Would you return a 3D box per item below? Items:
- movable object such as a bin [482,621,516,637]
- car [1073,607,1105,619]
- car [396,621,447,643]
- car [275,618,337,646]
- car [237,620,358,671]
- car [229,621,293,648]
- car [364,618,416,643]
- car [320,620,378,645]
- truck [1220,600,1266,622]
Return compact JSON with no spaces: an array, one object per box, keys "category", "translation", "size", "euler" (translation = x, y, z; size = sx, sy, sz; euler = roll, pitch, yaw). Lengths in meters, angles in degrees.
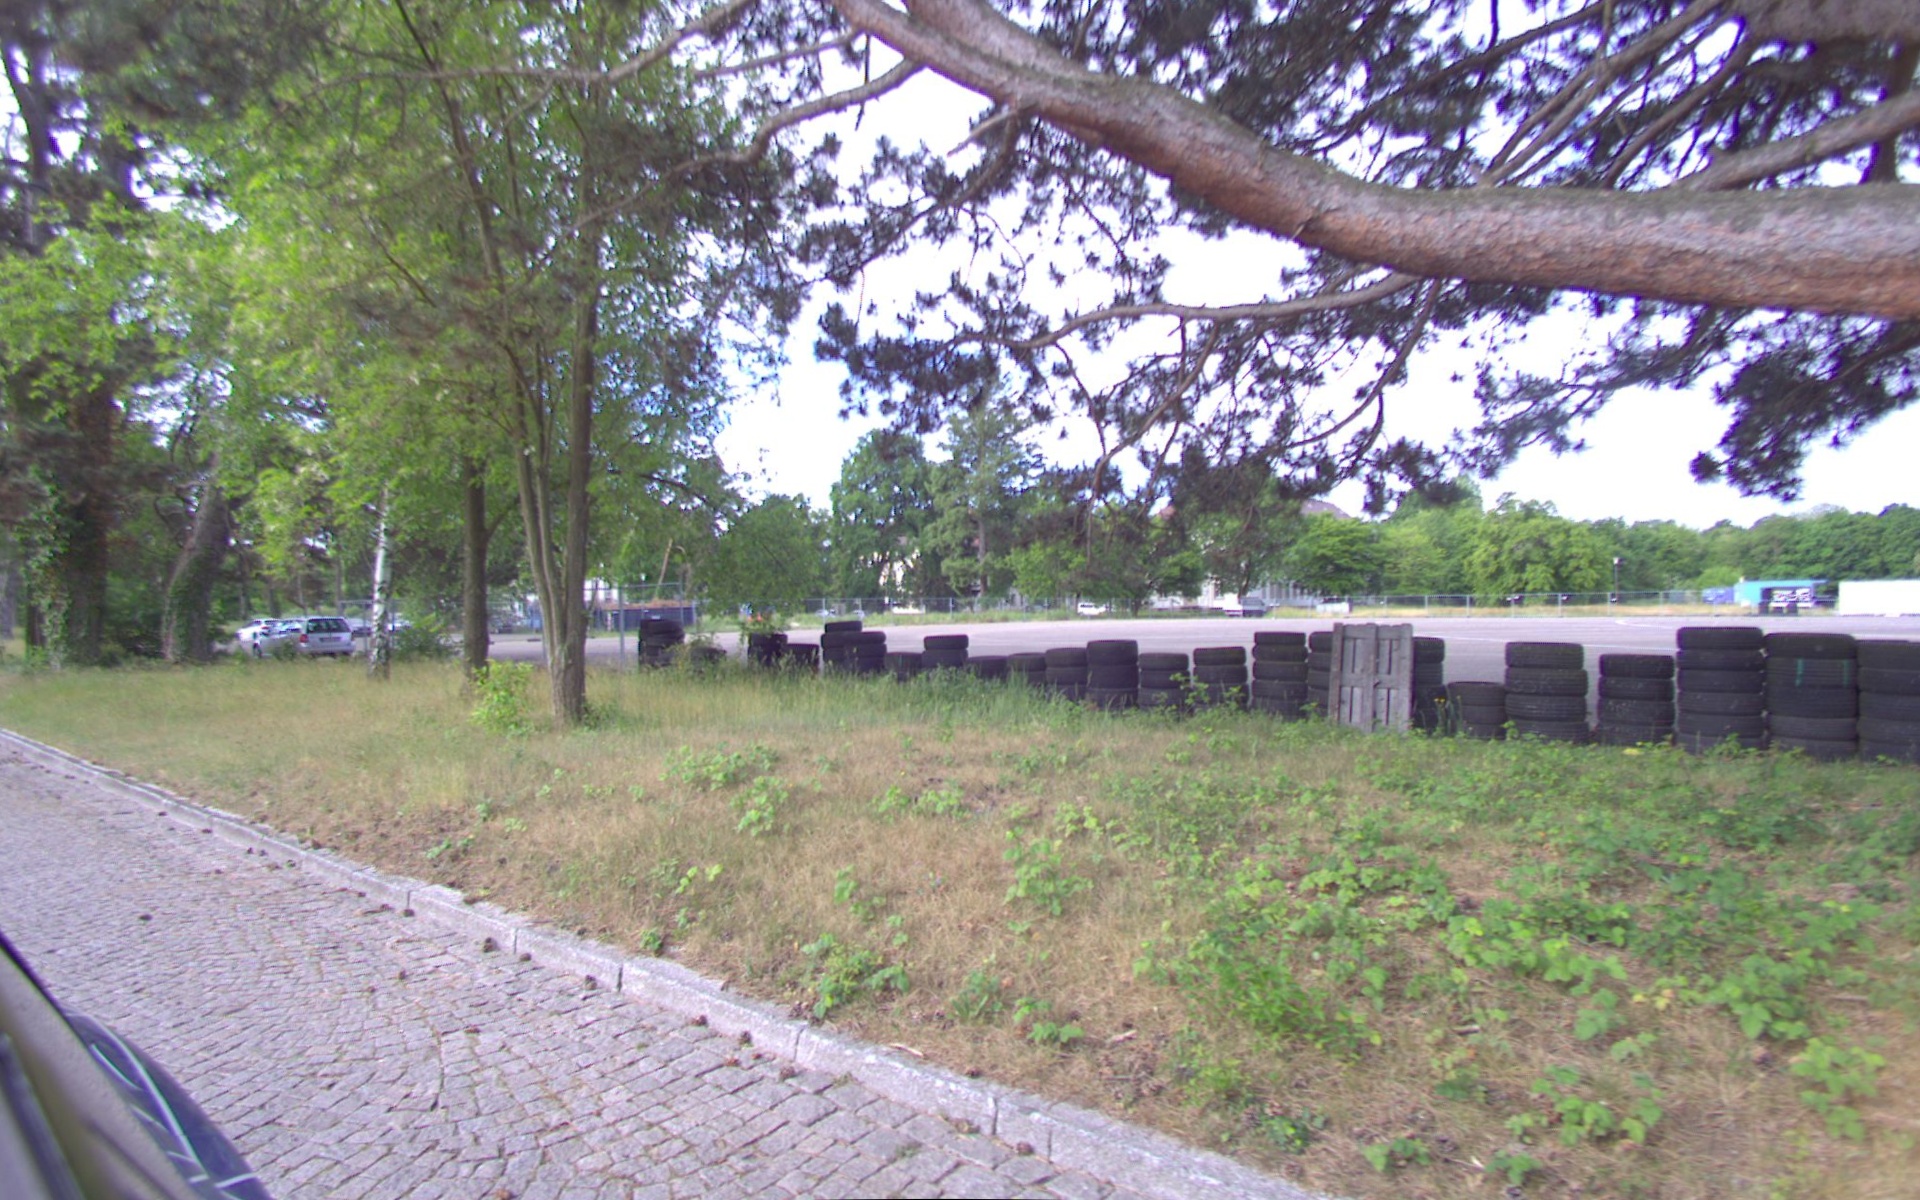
[{"category":"movable object such as a bin","translation":[-28.419,1.809,62.417],"size":[1.929,0.940,1.030],"euler":[-2,-2,32]},{"category":"car","translation":[19.916,1.996,155.735],"size":[4.575,1.645,1.819],"euler":[-2,-1,36]},{"category":"car","translation":[-43.462,2.564,81.671],"size":[4.575,1.571,1.819],"euler":[-4,-2,36]},{"category":"car","translation":[-42.188,2.066,65.239],"size":[4.575,1.590,1.819],"euler":[-4,-2,36]},{"category":"car","translation":[-20.728,1.391,31.603],"size":[4.458,1.449,1.700],"euler":[-2,-1,36]},{"category":"car","translation":[-43.569,2.173,63.045],"size":[4.646,1.461,1.819],"euler":[-4,-2,36]},{"category":"car","translation":[-39.290,2.126,69.750],"size":[4.109,1.533,1.715],"euler":[-4,-2,39]},{"category":"car","translation":[-40.745,2.166,67.437],"size":[4.579,1.480,1.817],"euler":[-4,-2,39]},{"category":"truck","translation":[29.762,1.151,106.388],"size":[2.371,2.215,6.472],"euler":[-2,-1,38]}]
